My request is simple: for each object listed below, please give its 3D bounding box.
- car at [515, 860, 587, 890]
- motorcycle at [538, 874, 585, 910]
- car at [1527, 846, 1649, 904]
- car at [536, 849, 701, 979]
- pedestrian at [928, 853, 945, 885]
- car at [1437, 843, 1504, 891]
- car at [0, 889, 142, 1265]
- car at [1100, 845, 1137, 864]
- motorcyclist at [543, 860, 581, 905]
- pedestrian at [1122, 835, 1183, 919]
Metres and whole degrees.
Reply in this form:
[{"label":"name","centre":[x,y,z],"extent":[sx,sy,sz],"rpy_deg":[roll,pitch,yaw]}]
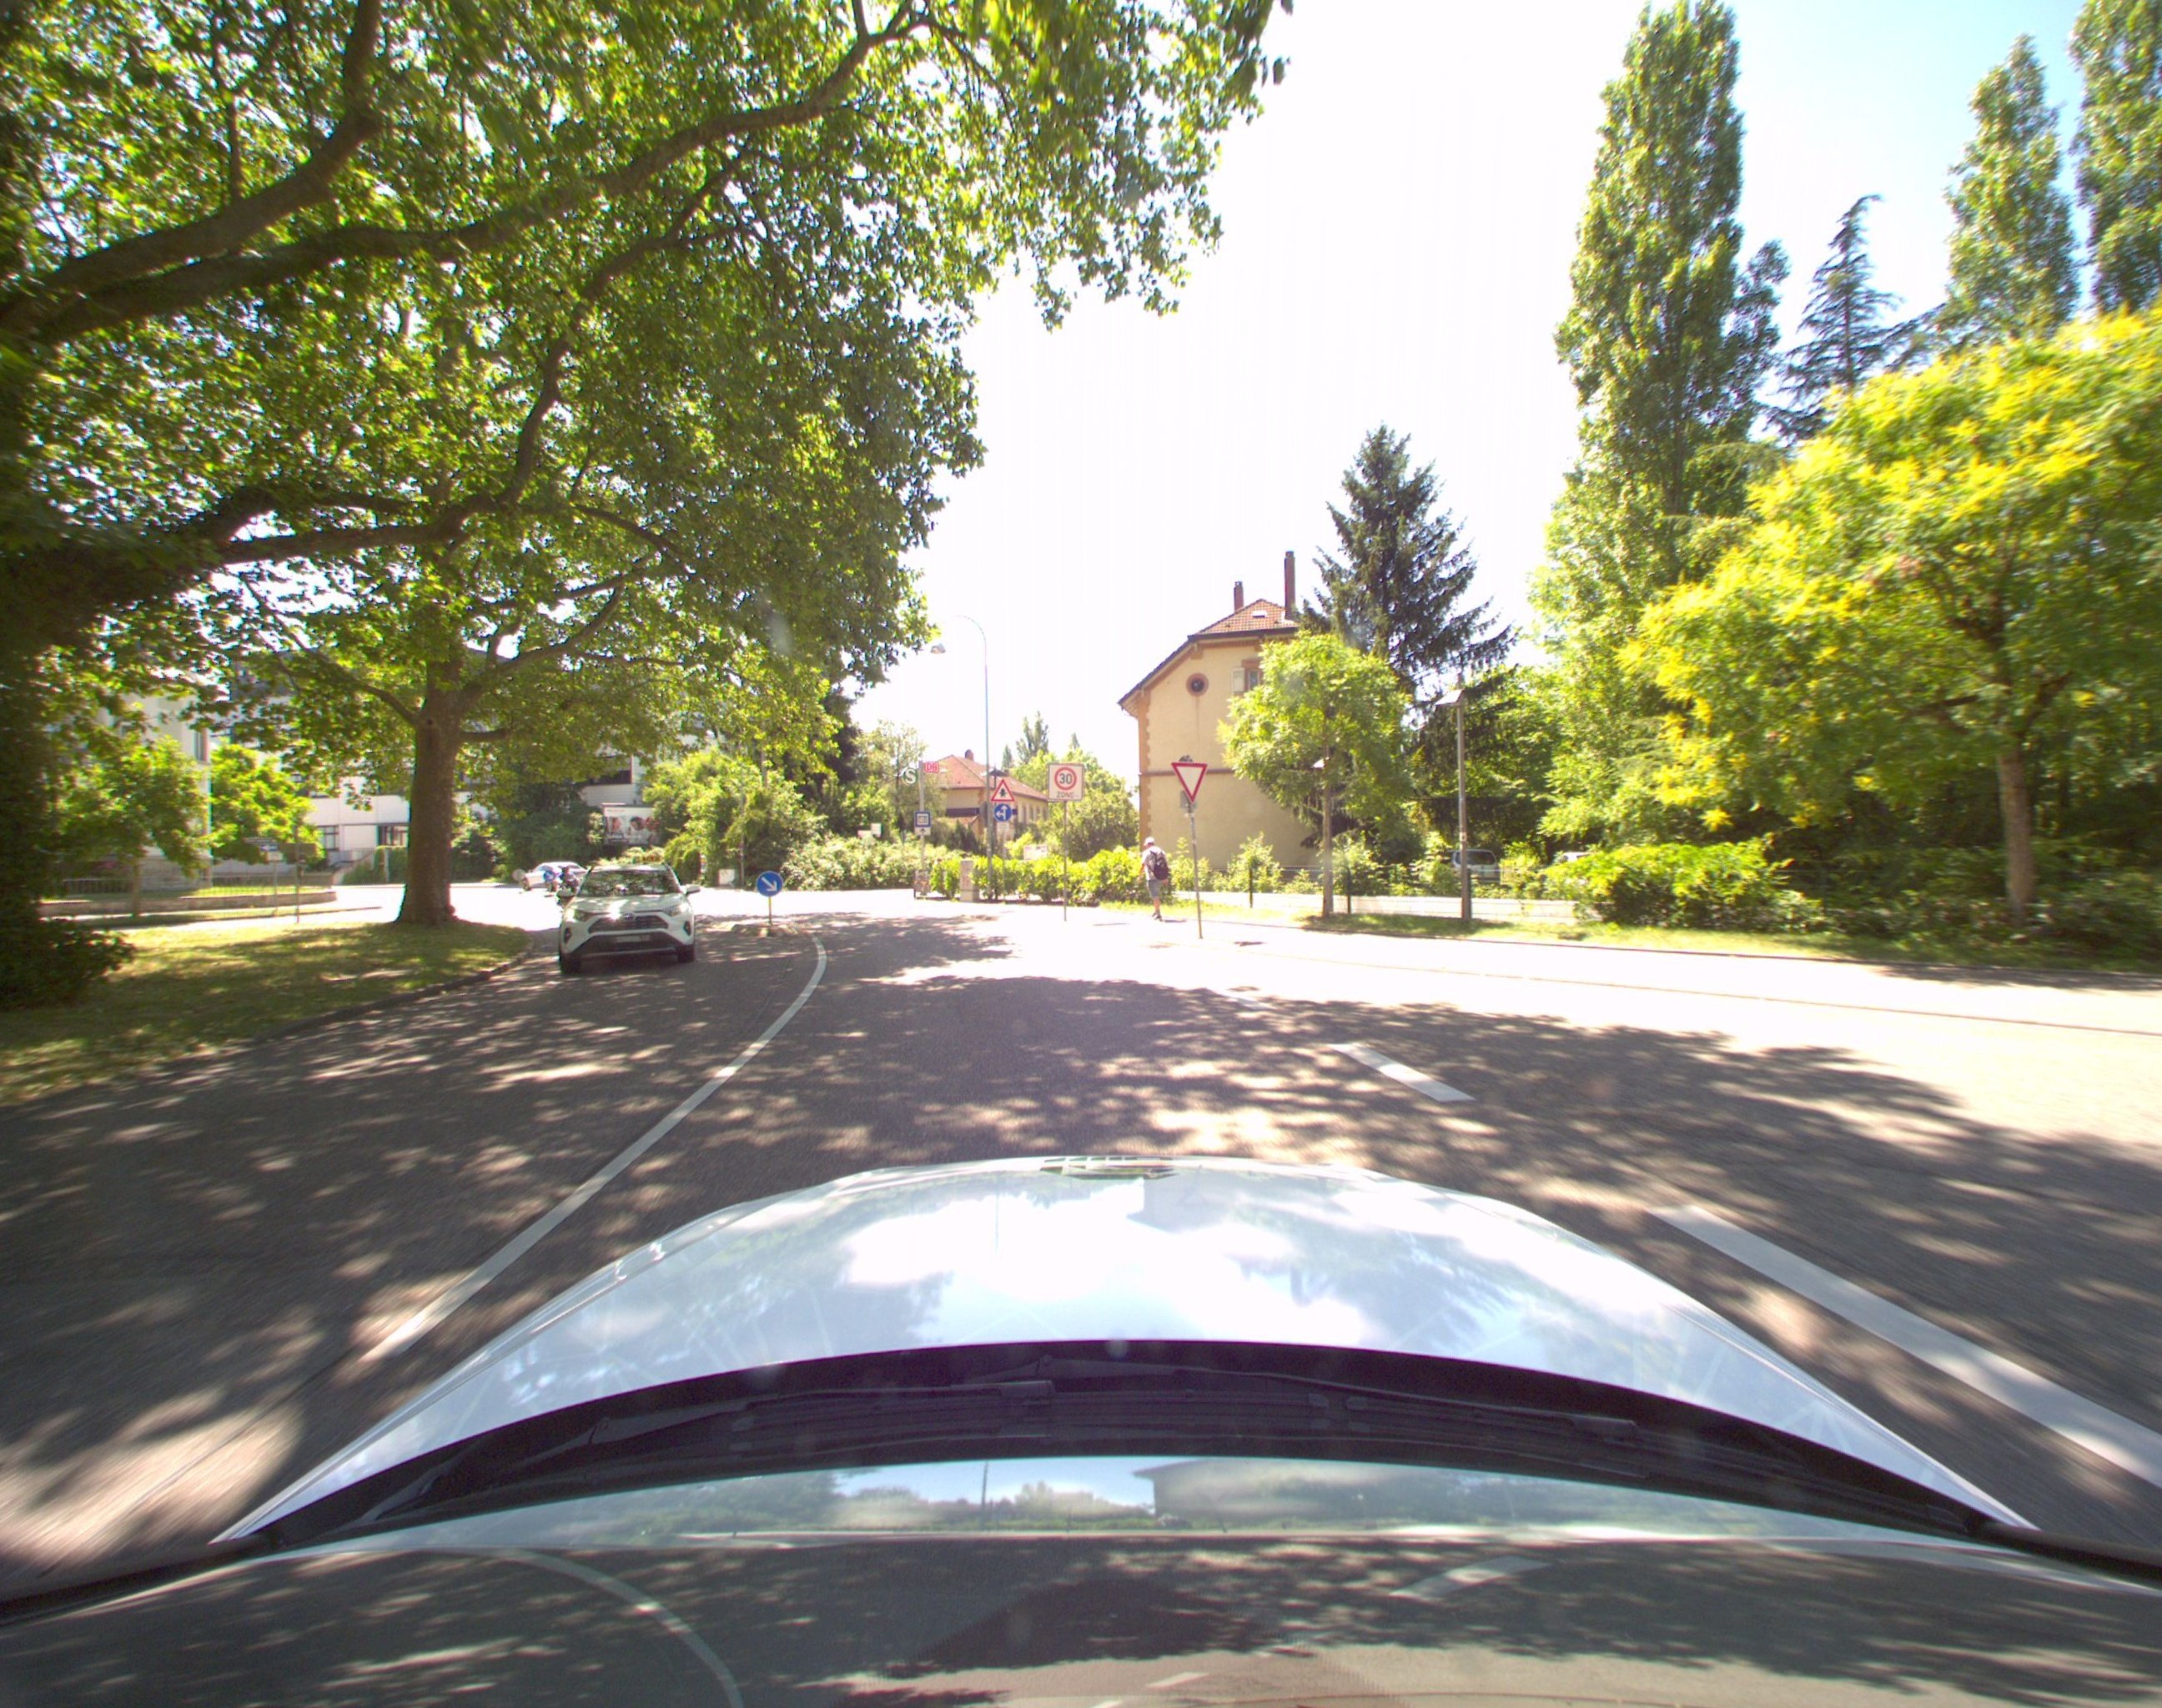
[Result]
[{"label":"car","centre":[-30.317,1.195,46.537],"extent":[4.414,1.614,1.954],"rpy_deg":[0,-2,36]},{"label":"motorcycle","centre":[-18.744,1.362,29.345],"extent":[2.024,1.231,0.815],"rpy_deg":[-1,0,39]},{"label":"car","centre":[14.441,0.551,23.500],"extent":[1.751,1.499,4.518],"rpy_deg":[-1,0,15]},{"label":"car","centre":[-7.699,0.866,13.972],"extent":[2.053,1.747,4.287],"rpy_deg":[-3,1,-25]},{"label":"pedestrian","centre":[-7.464,0.772,42.020],"extent":[0.620,1.627,0.692],"rpy_deg":[-1,1,-43]},{"label":"car","centre":[13.439,0.419,28.290],"extent":[1.637,1.536,3.989],"rpy_deg":[-1,0,19]},{"label":"car","centre":[-4.773,0.907,1.542],"extent":[1.640,1.417,3.989],"rpy_deg":[-3,1,-8]},{"label":"car","centre":[5.019,0.065,107.606],"extent":[4.409,2.322,2.212],"rpy_deg":[-1,0,17]},{"label":"motorcyclist","centre":[-18.668,1.007,29.295],"extent":[1.090,1.555,0.815],"rpy_deg":[-1,0,39]},{"label":"pedestrian","centre":[1.588,0.493,18.108],"extent":[0.917,1.771,0.908],"rpy_deg":[-4,1,-25]}]
